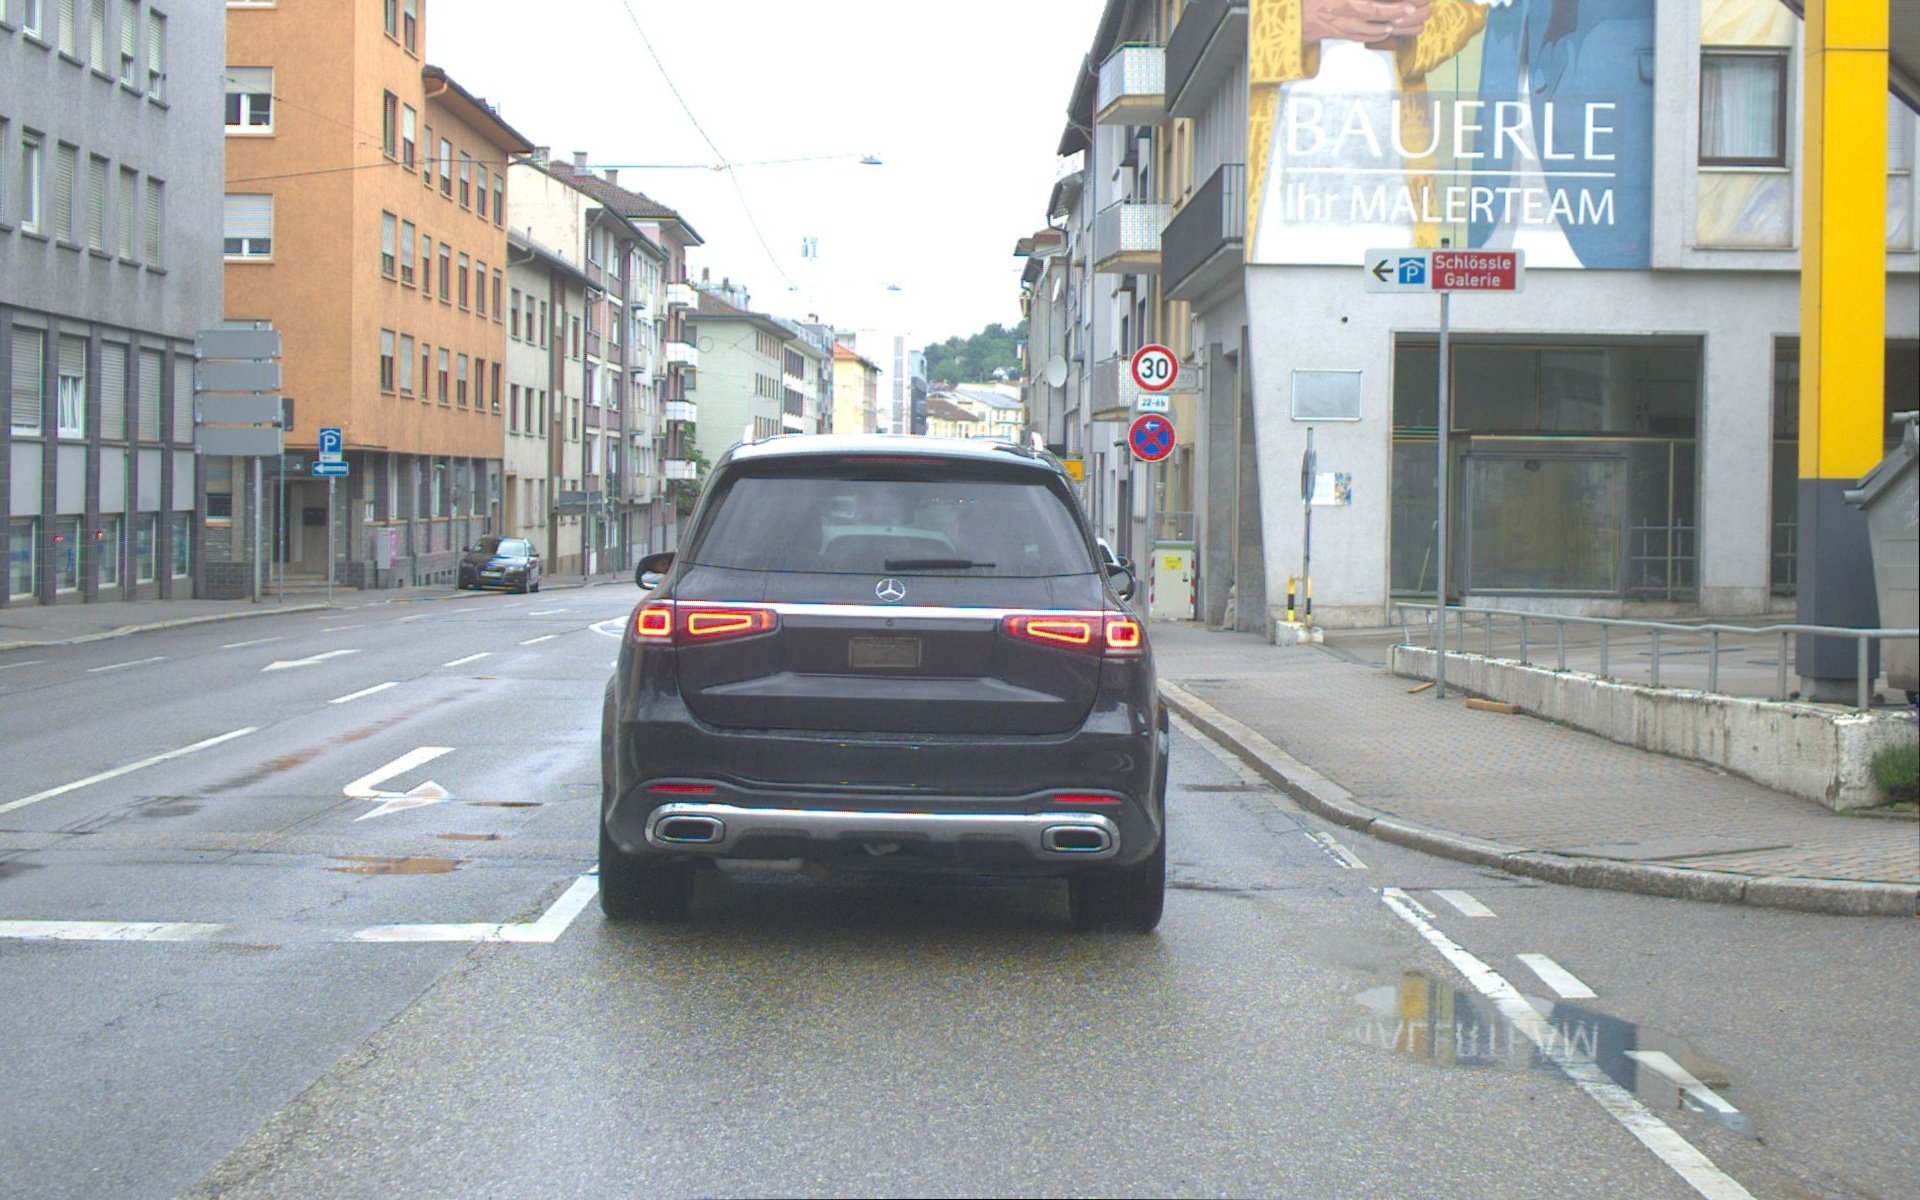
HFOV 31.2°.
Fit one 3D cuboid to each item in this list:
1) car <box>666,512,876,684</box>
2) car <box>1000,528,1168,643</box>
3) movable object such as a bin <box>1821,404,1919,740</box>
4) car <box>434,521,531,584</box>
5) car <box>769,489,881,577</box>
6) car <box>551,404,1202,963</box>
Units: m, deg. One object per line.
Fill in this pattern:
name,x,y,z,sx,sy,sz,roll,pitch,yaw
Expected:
car,-1.874,-0.067,34.455,1.893,1.505,4.174,4,1,-3
car,1.679,-0.240,47.986,1.893,1.398,4.609,-4,2,-3
movable object such as a bin,5.543,-0.143,16.924,2.155,1.569,1.773,0,1,0
car,-12.013,-1.223,86.717,1.891,1.453,4.550,3,1,-2
car,-2.715,-1.380,70.043,2.076,1.644,4.295,3,2,-1
car,-0.298,0.215,13.681,2.076,1.759,4.611,3,2,-1
